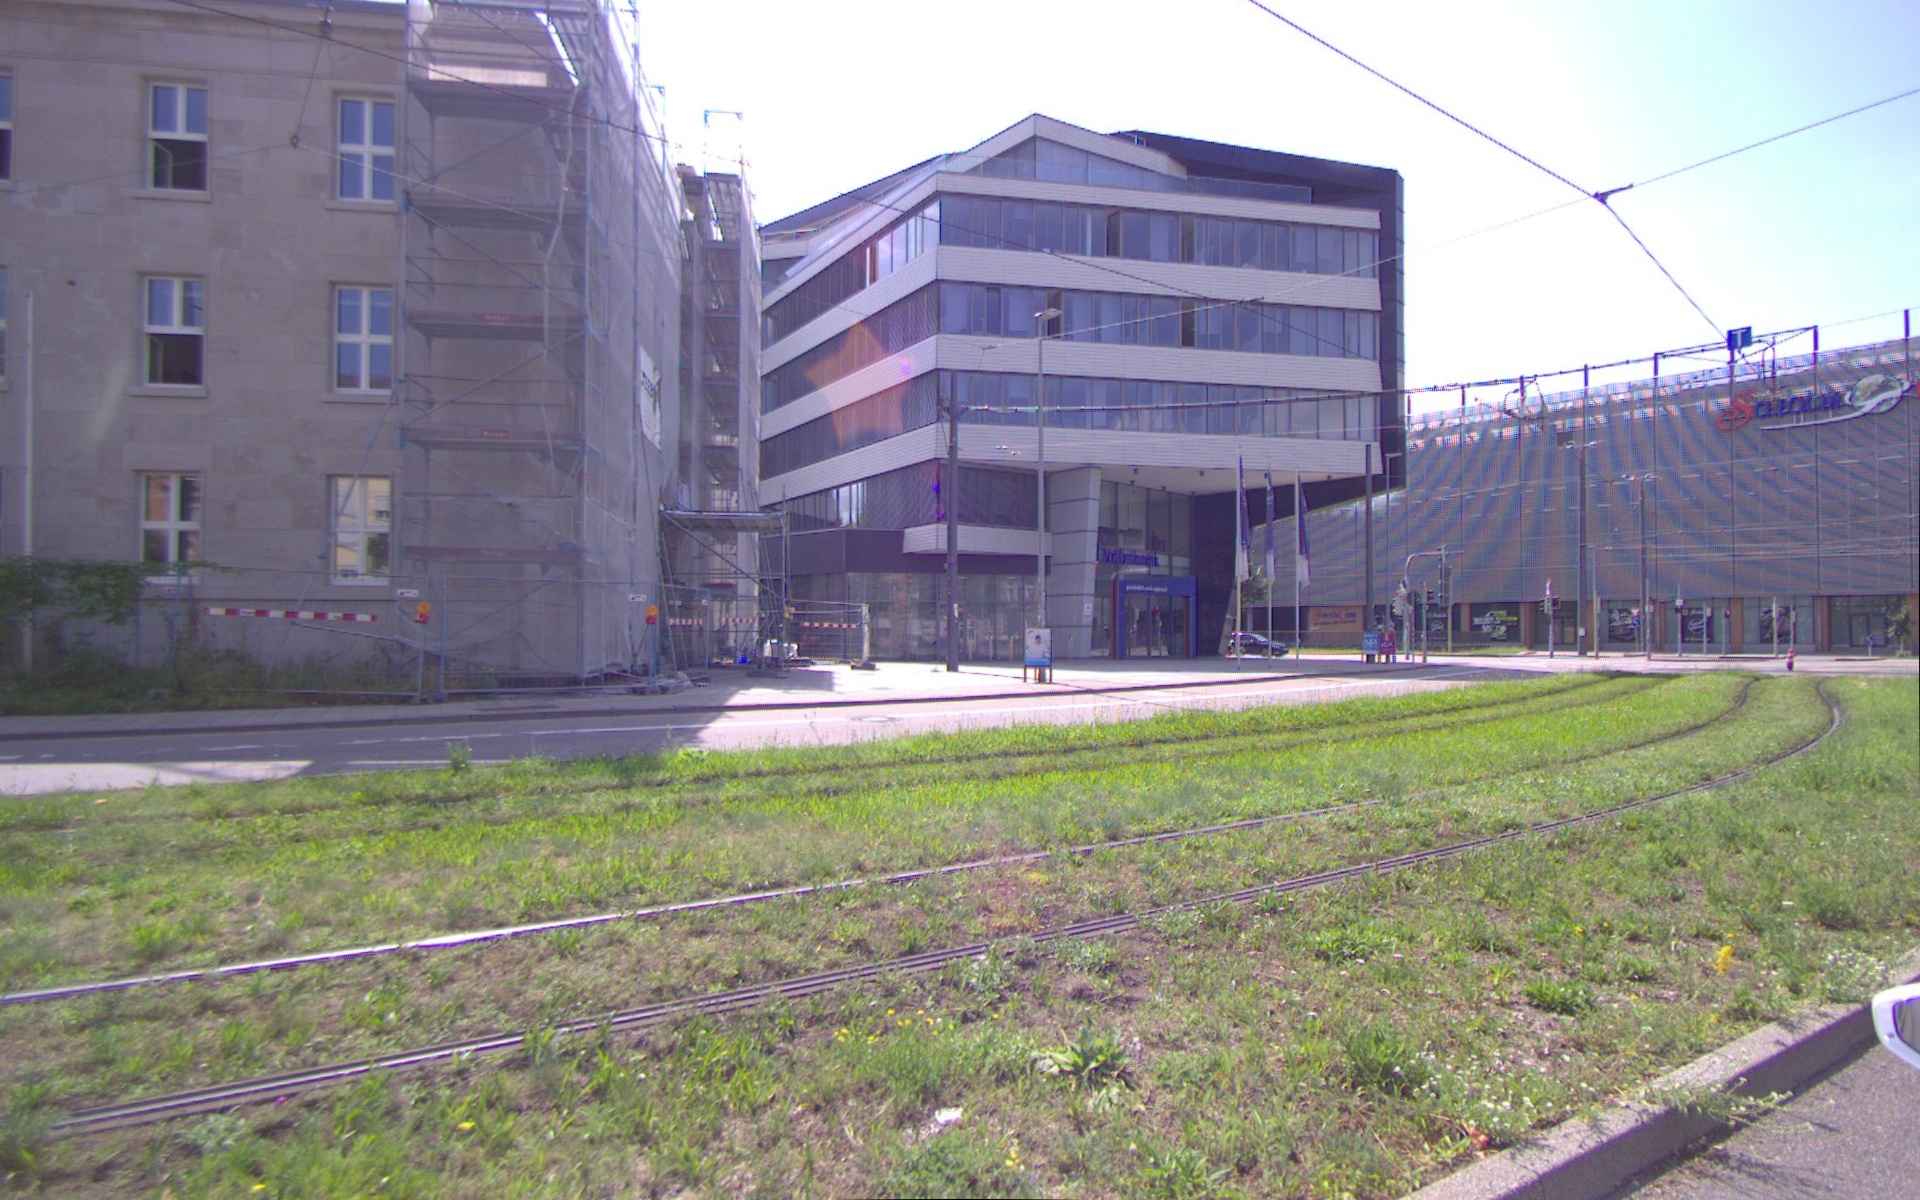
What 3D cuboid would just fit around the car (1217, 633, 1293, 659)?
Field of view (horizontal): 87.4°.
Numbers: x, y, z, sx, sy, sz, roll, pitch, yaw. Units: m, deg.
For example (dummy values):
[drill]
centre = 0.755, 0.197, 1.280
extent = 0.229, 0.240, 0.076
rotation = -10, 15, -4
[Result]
[car]
centre = 17.665, 2.716, 60.319
extent = 1.815, 1.488, 4.059
rotation = 2, -2, -44
